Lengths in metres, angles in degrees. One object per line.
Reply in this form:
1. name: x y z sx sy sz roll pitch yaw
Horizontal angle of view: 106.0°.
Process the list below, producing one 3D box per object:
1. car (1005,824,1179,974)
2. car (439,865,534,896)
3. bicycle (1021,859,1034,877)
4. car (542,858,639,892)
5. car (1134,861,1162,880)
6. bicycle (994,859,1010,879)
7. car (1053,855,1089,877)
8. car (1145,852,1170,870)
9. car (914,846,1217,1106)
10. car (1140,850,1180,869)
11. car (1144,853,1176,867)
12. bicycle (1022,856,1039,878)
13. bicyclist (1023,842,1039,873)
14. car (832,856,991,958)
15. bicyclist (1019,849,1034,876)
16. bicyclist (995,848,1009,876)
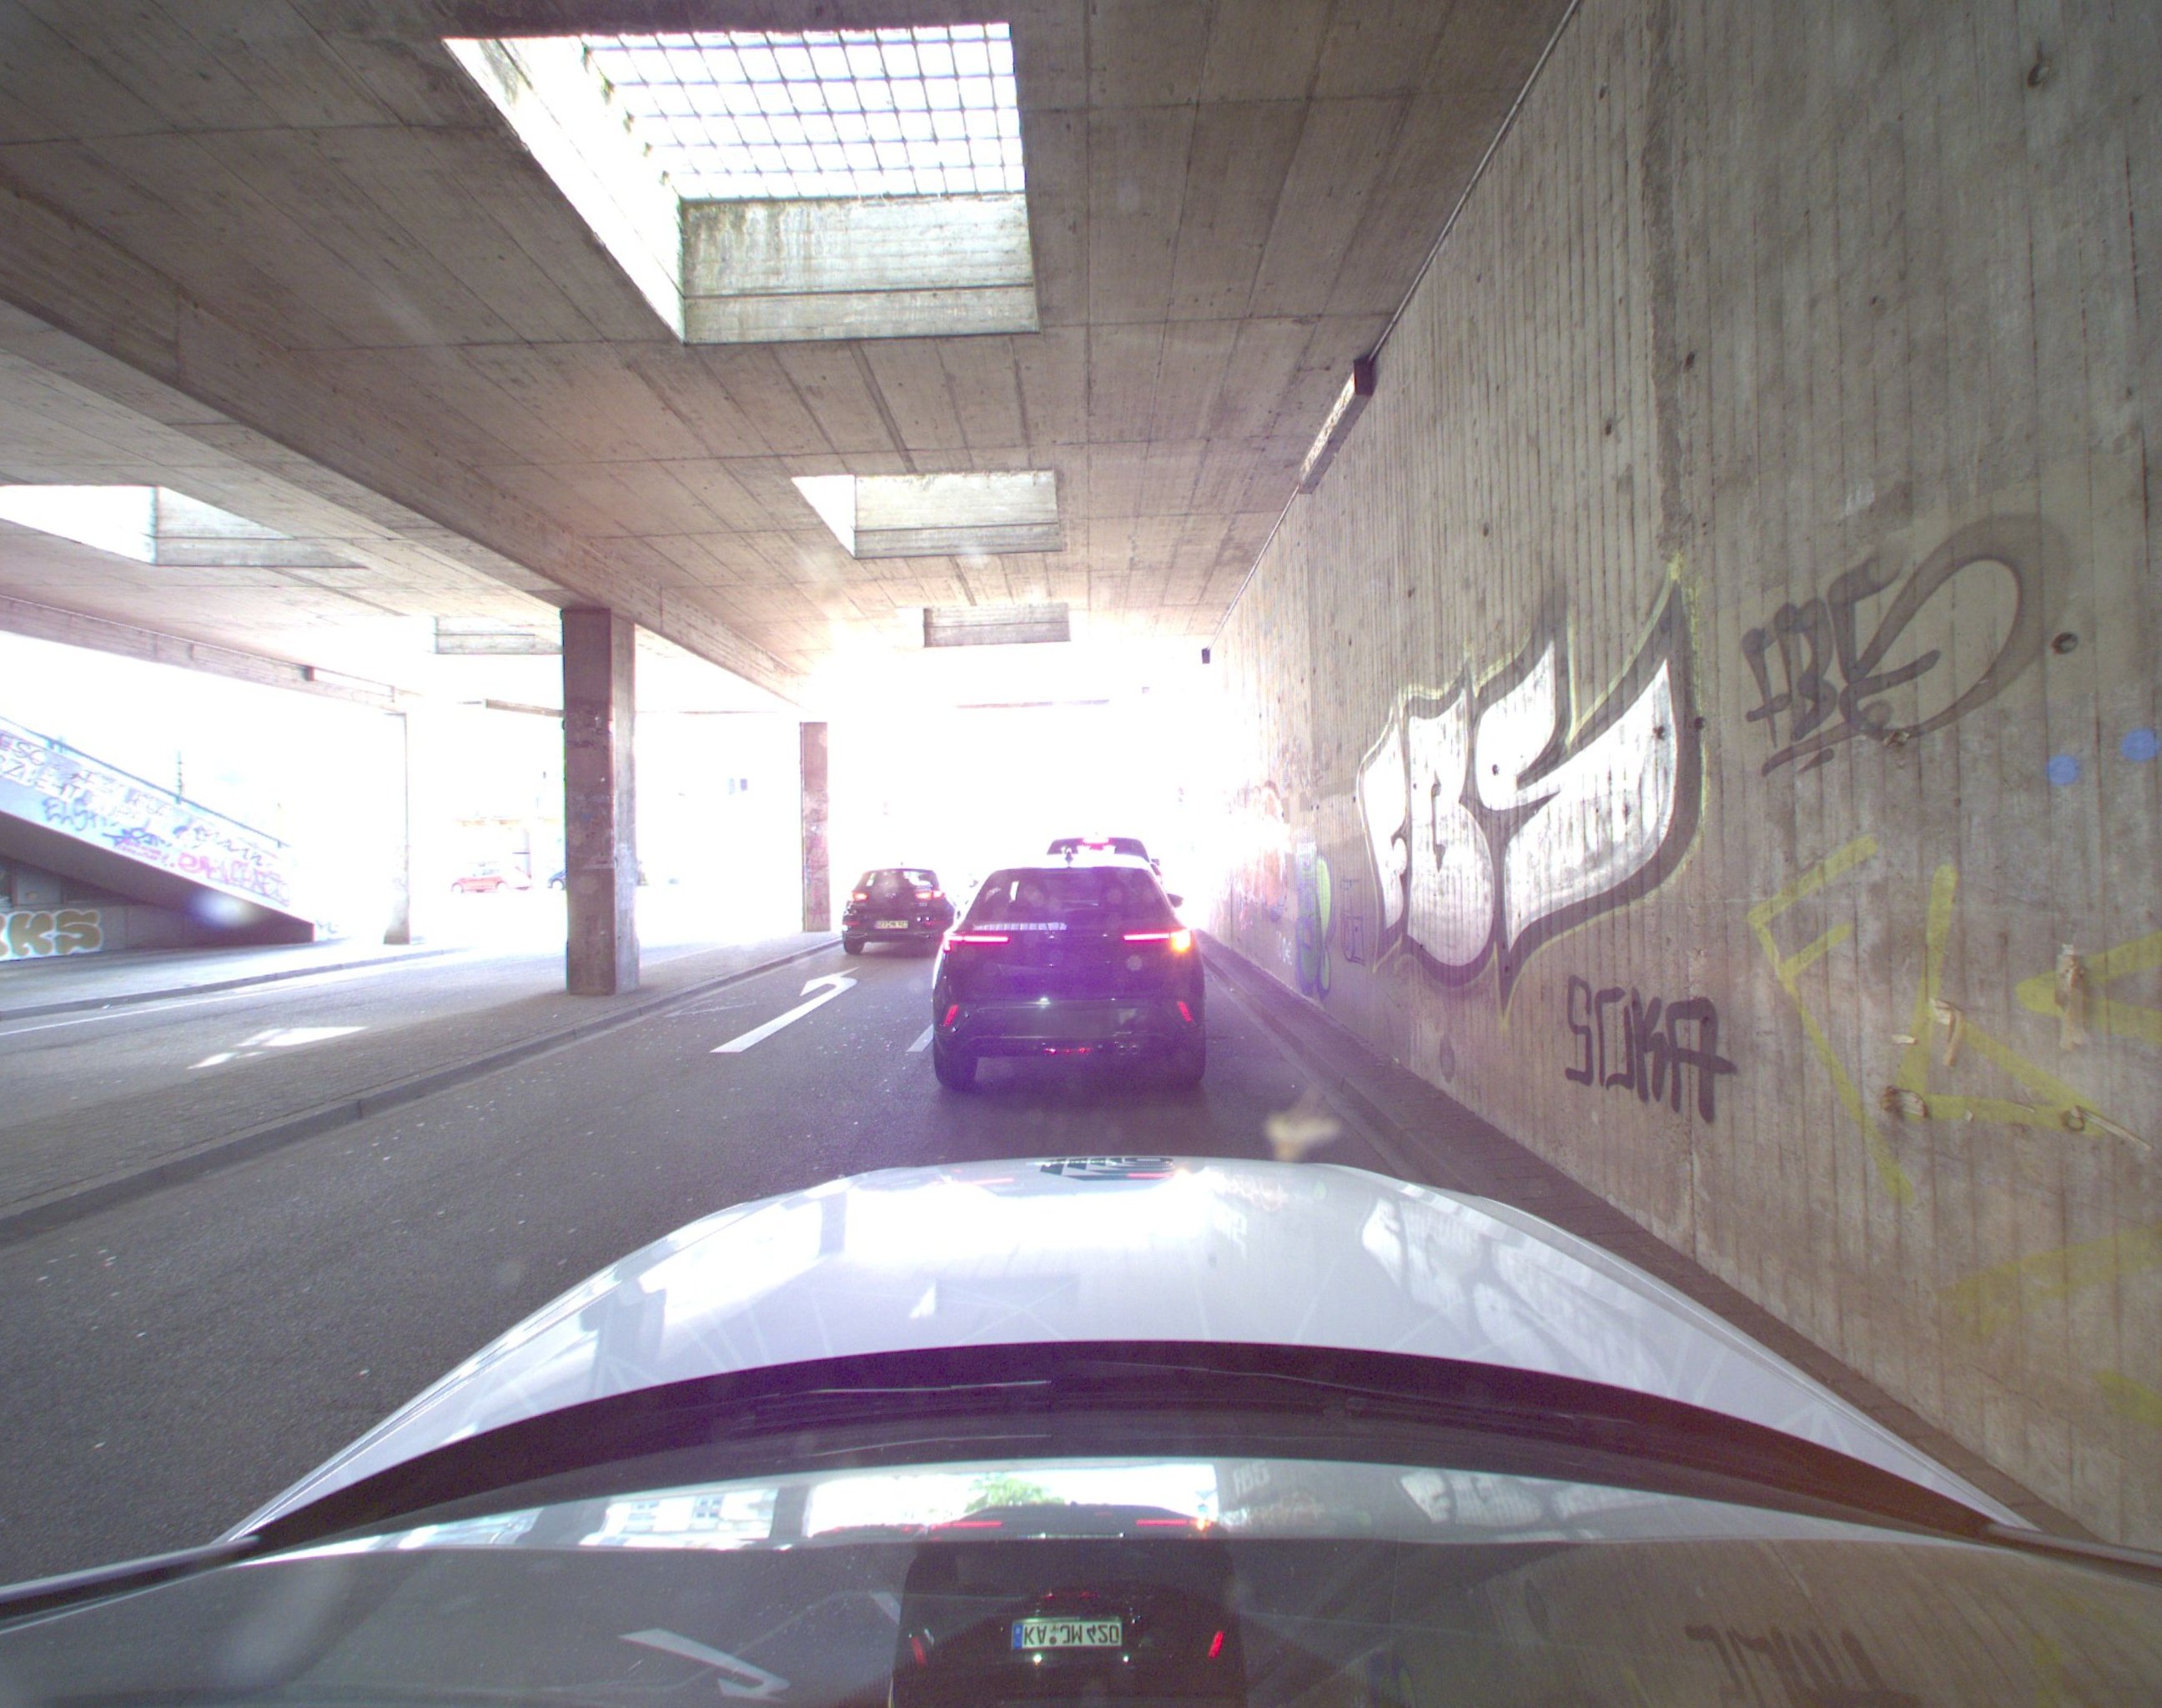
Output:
1. car: 0.227 0.564 12.676 2.125 1.835 4.943 -1 0 2
2. car: -33.045 1.437 45.323 3.863 1.540 1.900 -1 1 2
3. bicycle: -3.381 0.866 51.414 0.539 1.123 2.060 -1 0 3
4. car: -27.193 1.155 45.260 4.144 1.724 1.964 -1 1 2
5. car: 5.620 1.353 68.422 1.695 1.452 3.865 -1 0 14
6. bicycle: -4.637 0.873 47.972 0.523 1.090 1.864 -1 0 7
7. car: -0.722 0.849 59.147 1.645 1.441 3.478 -2 0 16
8. car: 7.131 0.668 75.249 1.693 1.512 3.877 -3 -1 13
9. car: -0.035 0.723 6.692 1.775 1.517 3.757 -1 0 2
10. car: 11.199 0.827 116.057 5.267 2.545 1.976 -2 -1 -14
11. car: 13.036 0.977 133.962 4.905 2.083 1.970 -2 -1 -23
12. bicycle: -2.851 0.724 46.269 0.695 1.090 1.863 -1 2 5
13. bicyclist: -2.827 0.188 46.361 0.742 1.711 0.968 -1 1 4
14. car: -2.755 0.792 14.224 1.795 1.451 4.326 -2 0 0
15. bicyclist: -3.432 0.511 51.509 0.778 1.660 1.032 -1 0 3
16. bicyclist: -4.651 0.448 48.060 0.602 1.632 0.911 -1 0 7
